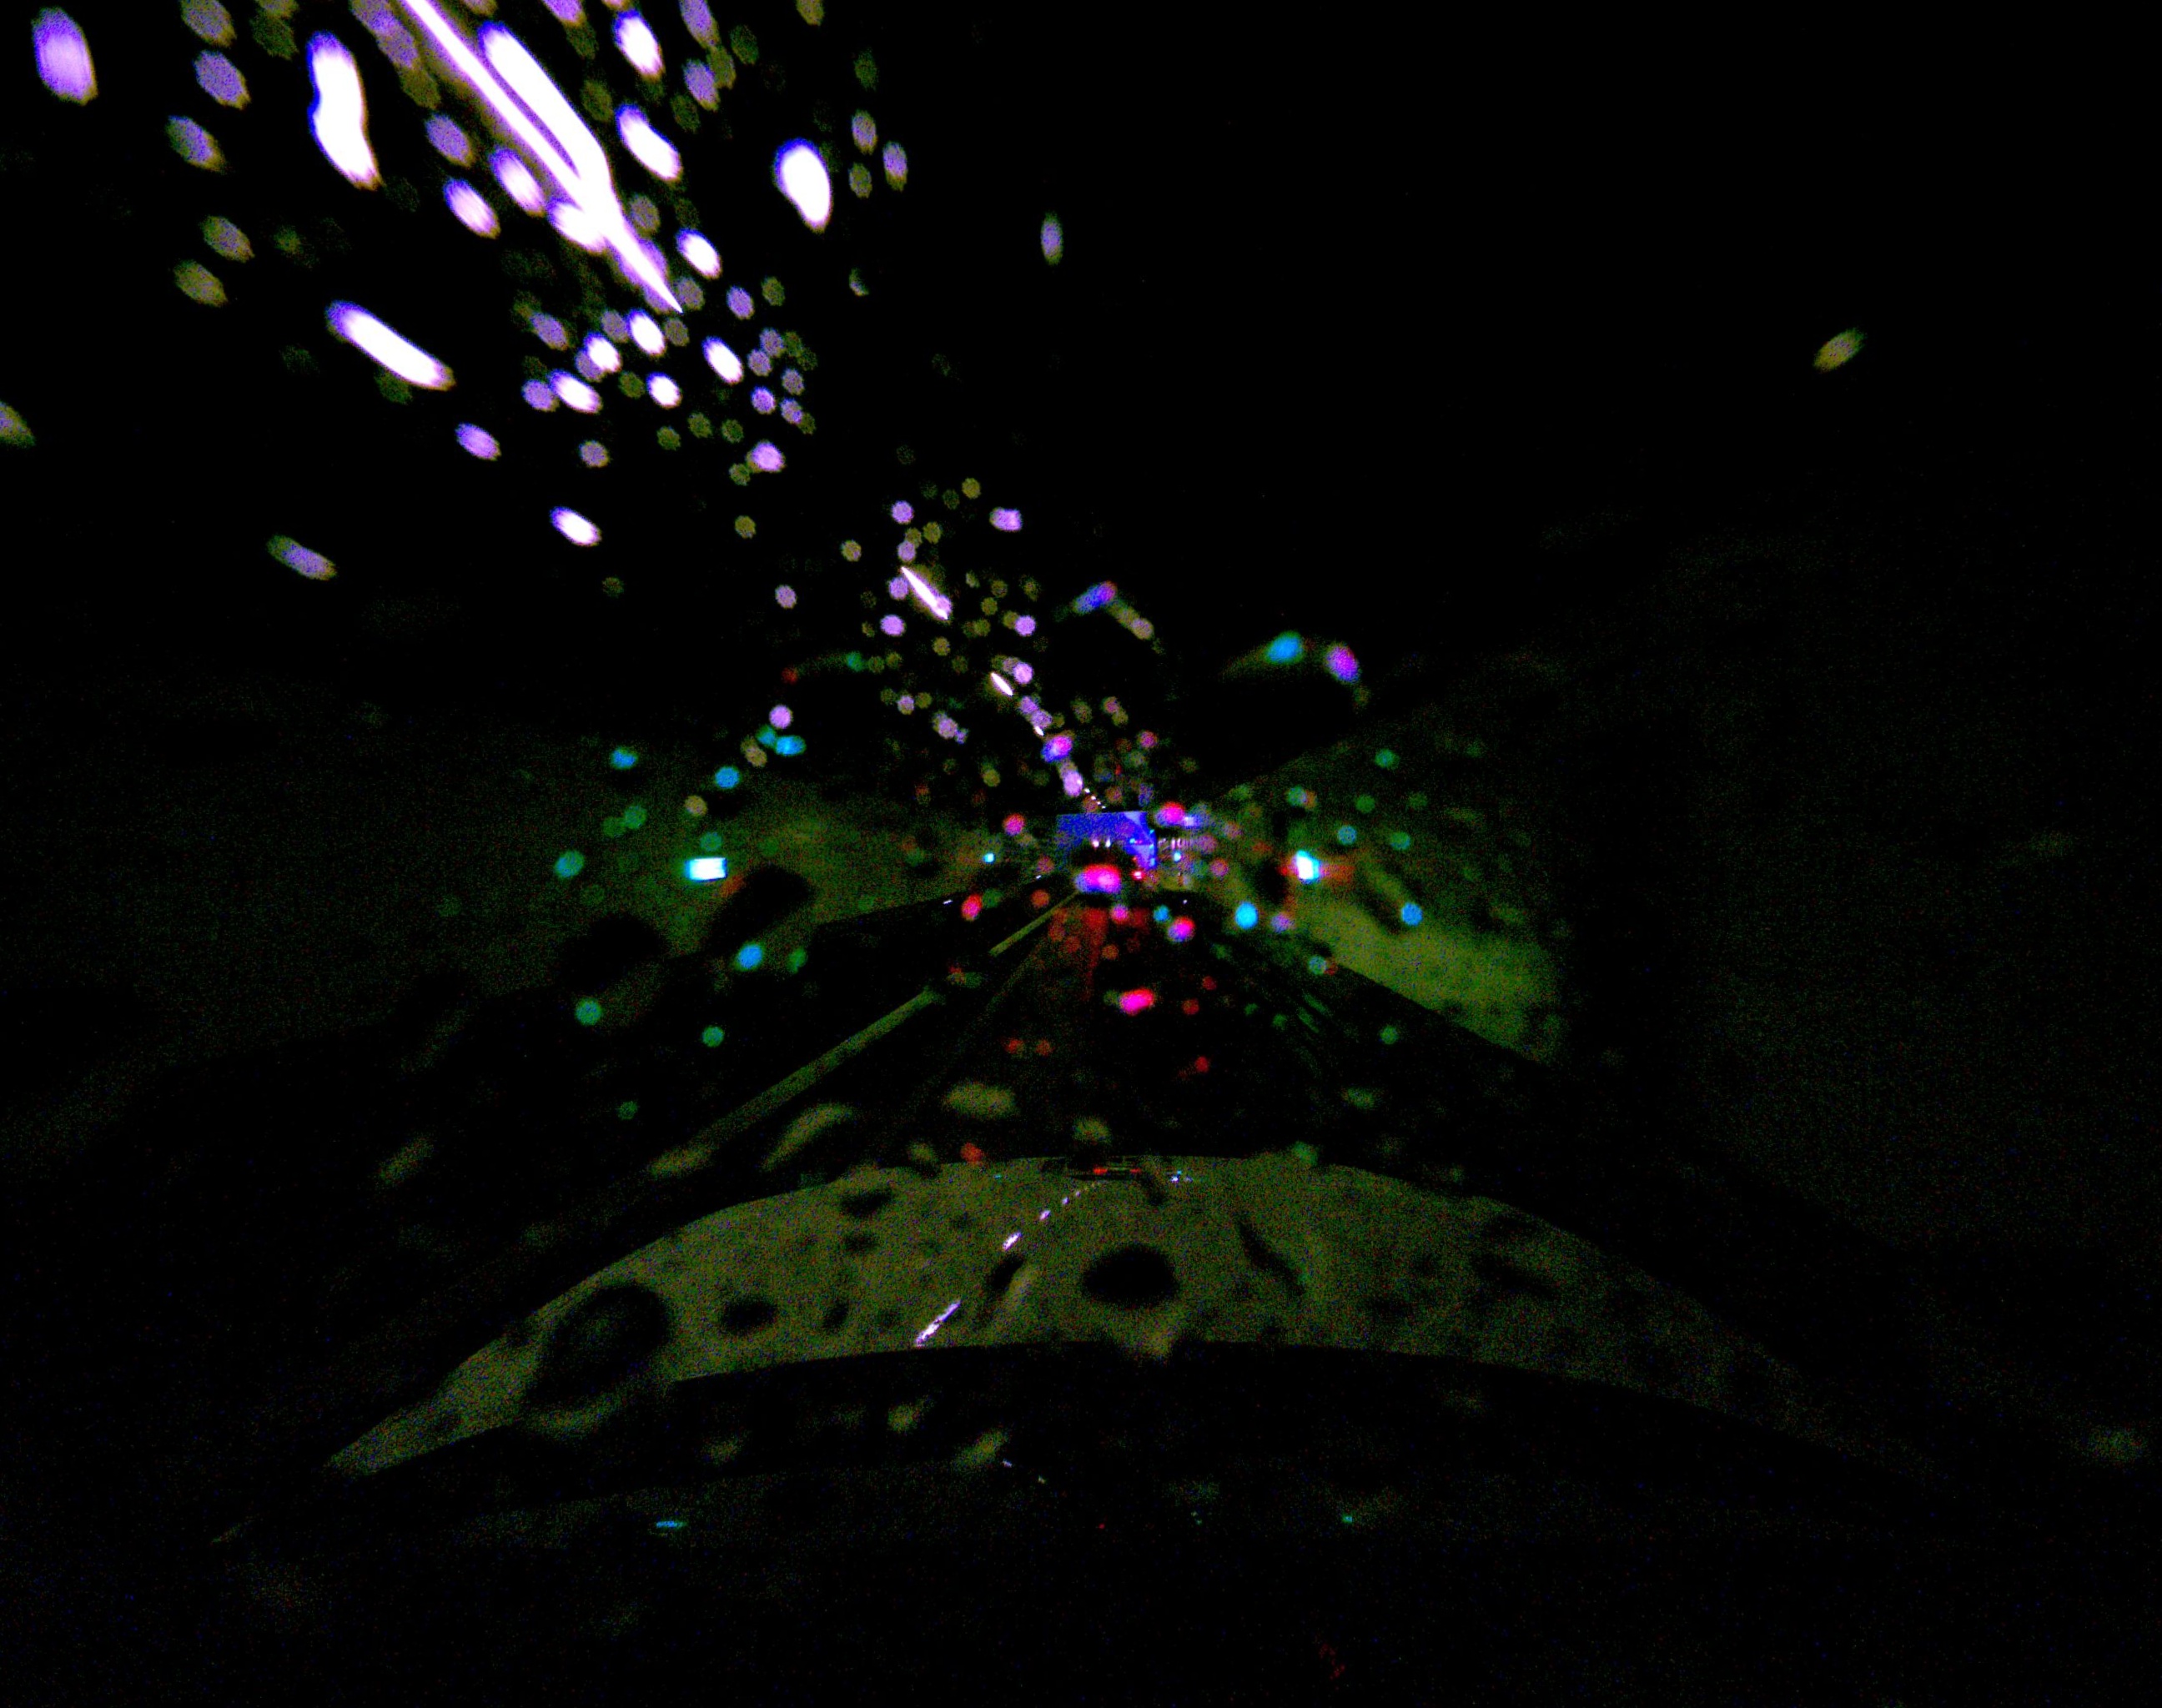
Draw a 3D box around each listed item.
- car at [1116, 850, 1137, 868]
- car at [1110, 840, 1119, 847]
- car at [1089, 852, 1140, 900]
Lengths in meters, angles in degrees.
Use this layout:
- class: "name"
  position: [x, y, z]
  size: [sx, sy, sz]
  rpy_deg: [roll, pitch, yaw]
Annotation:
- class: "car"
  position: [4.210, 0.470, 74.844]
  size: [1.872, 1.621, 4.003]
  rpy_deg: [-1, -1, 3]
- class: "car"
  position: [8.184, -2.572, 197.943]
  size: [1.871, 1.621, 4.006]
  rpy_deg: [-1, -1, 5]
- class: "car"
  position: [1.071, 0.665, 26.044]
  size: [1.526, 1.397, 3.436]
  rpy_deg: [-1, 0, 2]
